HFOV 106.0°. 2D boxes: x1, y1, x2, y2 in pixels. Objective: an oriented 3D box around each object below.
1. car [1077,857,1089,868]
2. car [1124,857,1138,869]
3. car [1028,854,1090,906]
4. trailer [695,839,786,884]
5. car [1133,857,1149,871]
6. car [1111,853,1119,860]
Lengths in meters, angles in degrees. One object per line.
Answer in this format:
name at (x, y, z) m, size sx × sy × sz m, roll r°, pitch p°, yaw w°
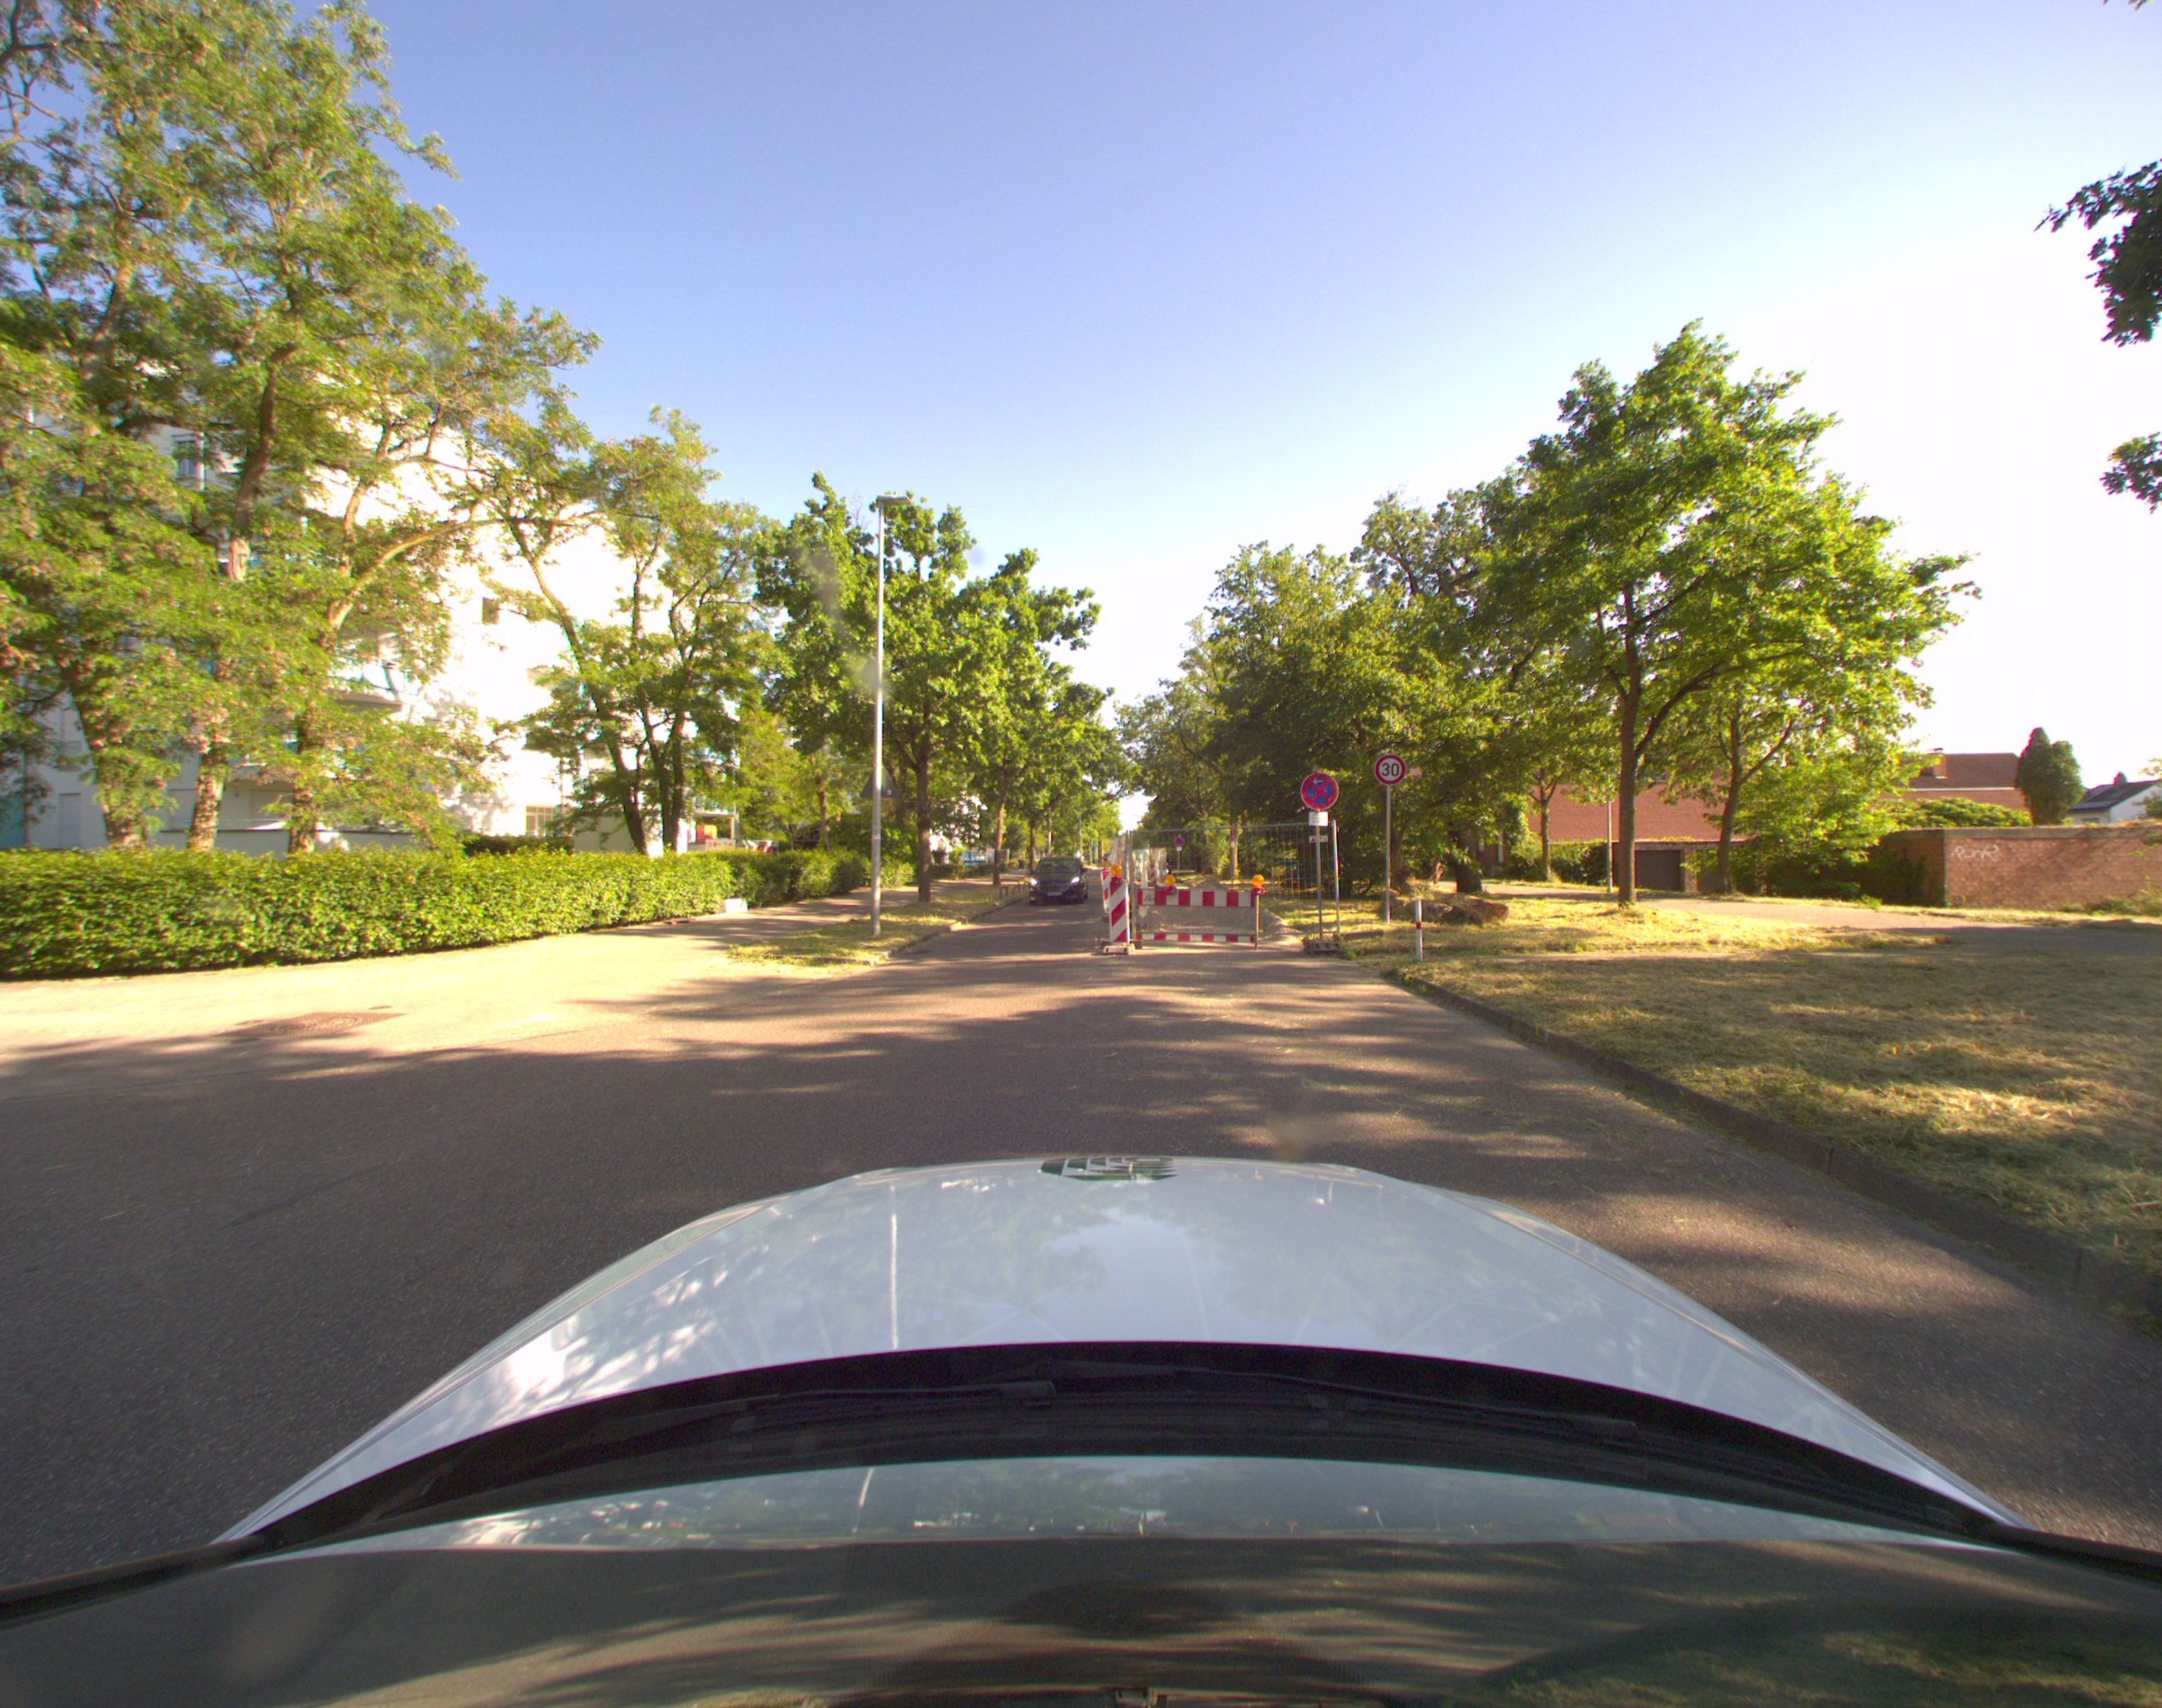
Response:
car at (0.253, 1.112, 103.419) m, size 1.356 × 1.302 × 3.481 m, roll 1°, pitch -1°, yaw 1°
car at (5.537, 0.988, 90.633) m, size 1.356 × 1.302 × 3.481 m, roll 1°, pitch -1°, yaw 1°
car at (-0.704, 0.869, 29.271) m, size 1.814 × 1.625 × 4.496 m, roll -2°, pitch 0°, yaw 3°
trailer at (-16.372, 0.348, 39.418) m, size 1.964 × 2.042 × 4.442 m, roll 0°, pitch 0°, yaw 10°
car at (5.706, 0.927, 77.639) m, size 1.356 × 1.302 × 3.481 m, roll 1°, pitch -1°, yaw 1°
car at (8.127, 0.715, 195.758) m, size 1.705 × 1.585 × 3.998 m, roll 1°, pitch -1°, yaw 0°
